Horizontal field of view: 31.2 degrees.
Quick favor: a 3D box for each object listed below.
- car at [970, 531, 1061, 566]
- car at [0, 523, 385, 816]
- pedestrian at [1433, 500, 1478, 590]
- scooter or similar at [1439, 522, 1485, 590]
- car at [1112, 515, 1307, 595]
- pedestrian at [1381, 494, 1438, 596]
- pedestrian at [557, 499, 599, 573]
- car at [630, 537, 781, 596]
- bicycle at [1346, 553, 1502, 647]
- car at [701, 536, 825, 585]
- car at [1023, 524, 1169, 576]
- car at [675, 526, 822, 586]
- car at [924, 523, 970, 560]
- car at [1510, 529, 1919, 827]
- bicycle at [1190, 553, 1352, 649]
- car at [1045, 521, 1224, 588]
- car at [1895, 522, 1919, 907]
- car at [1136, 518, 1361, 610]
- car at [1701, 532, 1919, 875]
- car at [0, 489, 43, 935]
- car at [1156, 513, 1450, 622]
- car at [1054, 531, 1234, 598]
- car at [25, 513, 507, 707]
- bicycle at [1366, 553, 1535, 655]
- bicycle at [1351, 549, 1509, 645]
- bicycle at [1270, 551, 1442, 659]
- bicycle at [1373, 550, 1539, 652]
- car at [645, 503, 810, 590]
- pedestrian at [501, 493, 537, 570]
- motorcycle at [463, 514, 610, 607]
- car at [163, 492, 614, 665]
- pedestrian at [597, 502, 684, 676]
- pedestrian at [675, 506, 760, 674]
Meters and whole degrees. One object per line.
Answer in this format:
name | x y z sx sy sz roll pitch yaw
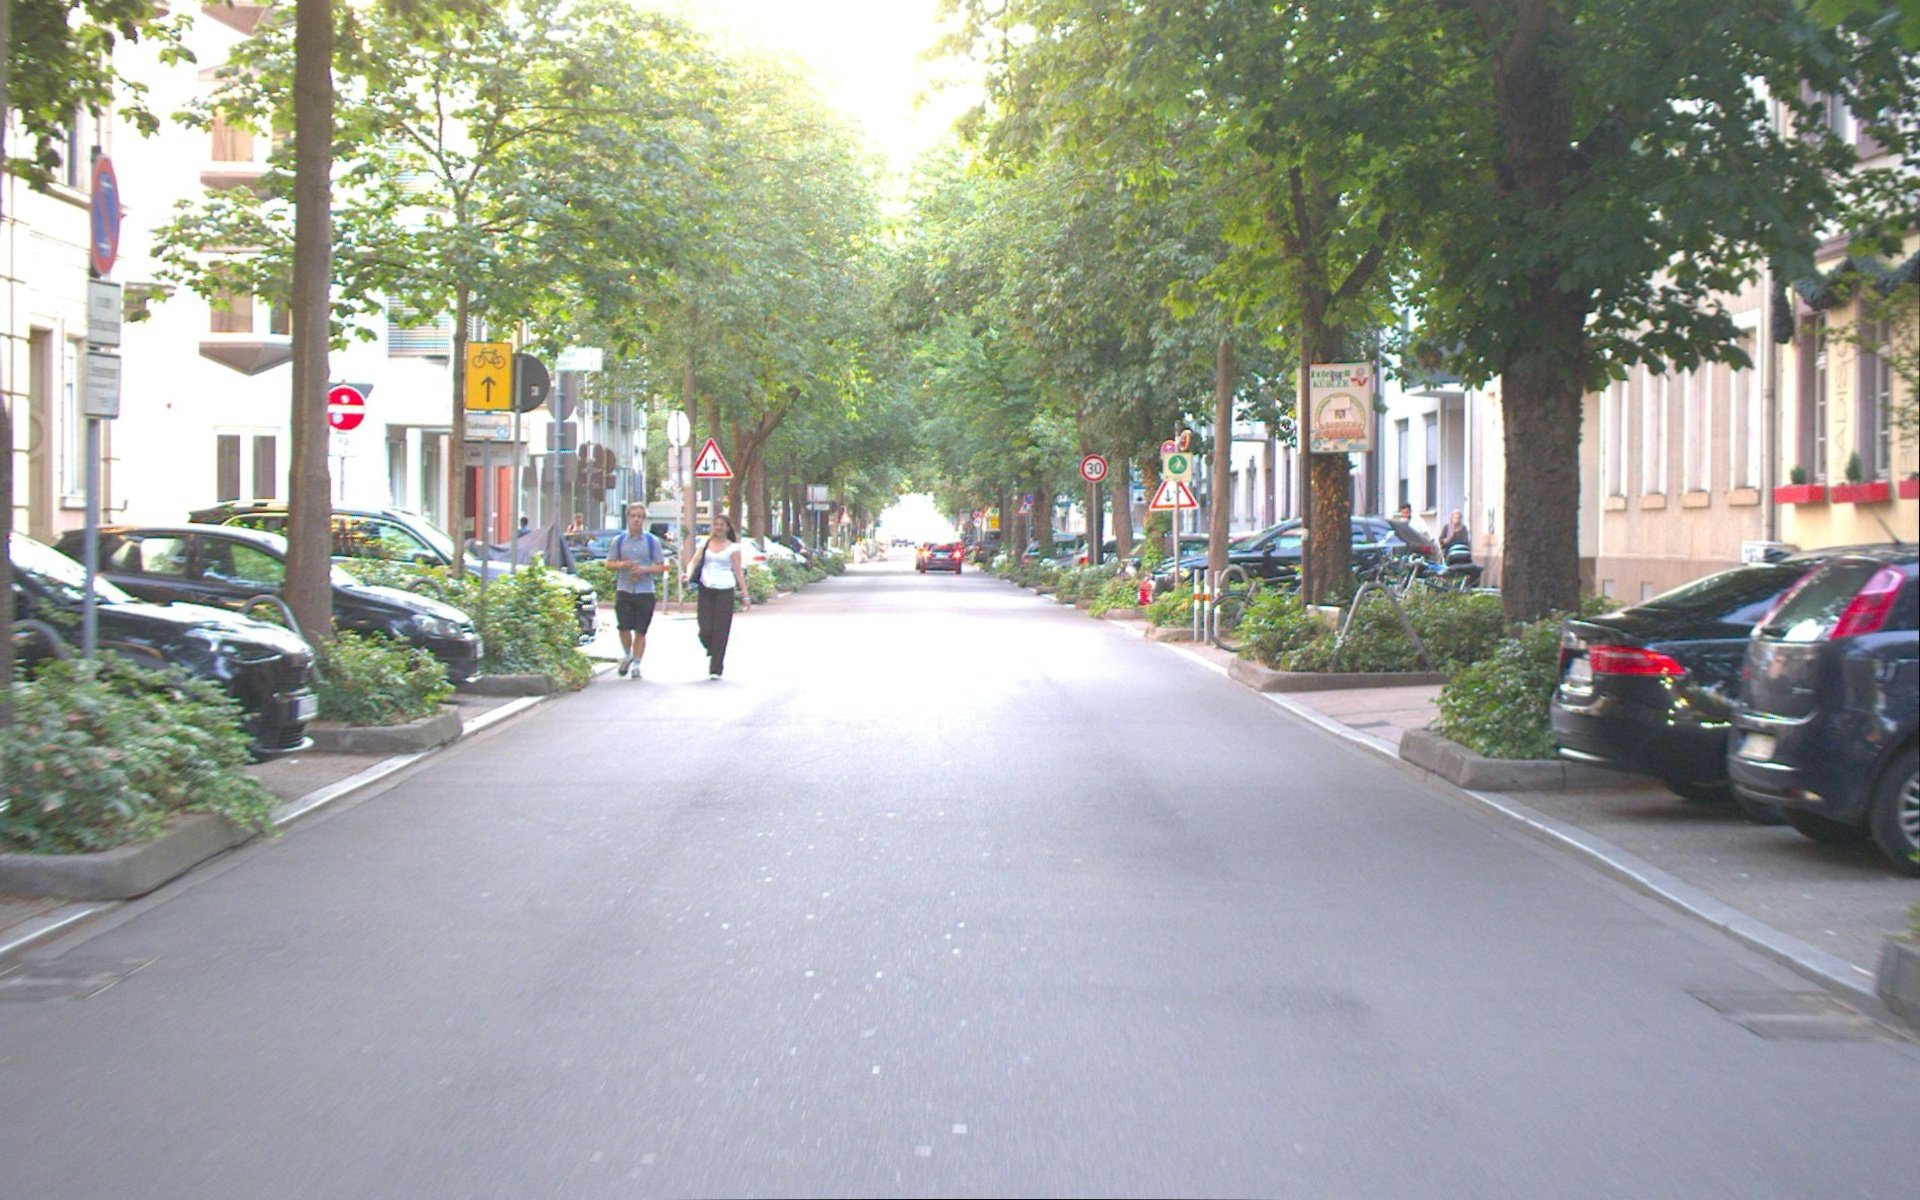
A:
car | 2.644 -2.466 163.748 4.268 1.560 1.963 -1 1 0
car | -5.354 0.334 19.252 3.945 1.527 1.908 1 1 -1
pedestrian | 8.538 -0.949 59.274 0.655 1.531 0.831 -1 1 0
scooter or similar | 8.541 -0.755 58.522 0.655 1.149 0.831 -1 1 0
car | 4.729 -0.867 65.499 3.483 1.447 1.900 -1 1 -2
pedestrian | 7.681 -0.936 58.789 0.689 1.731 0.674 -1 1 -32
pedestrian | -9.139 -1.534 82.285 0.704 1.751 0.739 1 1 23
car | -6.828 -0.908 92.448 3.871 1.481 1.757 1 1 1
bicycle | 5.623 -0.006 41.703 1.794 1.104 0.500 -1 1 -6
car | -6.909 -1.396 120.911 4.203 1.630 1.963 -1 1 0
car | 4.271 -1.557 107.689 4.508 1.516 1.995 -1 1 3
car | -6.934 -1.435 113.185 4.682 1.848 1.963 -1 1 0
car | -0.571 -2.576 151.095 1.956 1.560 4.282 -1 1 0
car | 5.351 0.317 18.405 4.400 1.389 1.886 -3 1 -2
bicycle | 3.804 0.004 42.104 1.837 1.131 0.745 -1 1 -10
car | 4.659 -1.237 92.326 4.717 1.704 1.950 1 2 1
car | 5.721 0.389 13.284 3.680 1.573 1.714 -3 1 0
car | 4.751 -0.612 56.999 3.483 1.447 1.900 -1 1 -2
car | 5.676 0.348 15.893 3.987 1.433 1.927 -3 1 -2
car | -5.661 0.368 12.332 4.201 1.666 1.908 2 2 0
car | 5.322 -0.527 53.762 4.426 1.650 1.899 0 1 1
car | 4.171 -0.823 78.405 3.876 1.435 1.848 -1 1 -4
car | -5.818 0.059 29.152 3.692 1.453 1.873 2 2 -1
bicycle | 5.634 0.035 39.515 1.794 1.124 0.664 -1 1 -6
bicycle | 5.789 -0.042 42.389 1.794 1.139 0.669 -1 1 -9
bicycle | 4.442 0.051 38.599 1.829 1.174 0.673 -1 1 -1
bicycle | 5.814 0.005 40.333 1.794 1.139 0.651 -1 1 -9
car | -6.794 -1.557 100.742 4.682 2.469 2.000 1 1 0
pedestrian | -10.053 -1.557 78.425 0.703 1.722 0.905 1 1 -1
motorcycle | -6.859 -0.638 55.650 2.208 1.476 0.860 0 2 -19
car | -6.017 -0.251 36.554 4.426 1.645 1.873 2 2 0
pedestrian | -3.217 -0.115 34.677 0.794 1.731 0.831 -1 1 -1
pedestrian | -2.430 -0.107 34.522 0.794 1.665 0.831 -1 1 -1
